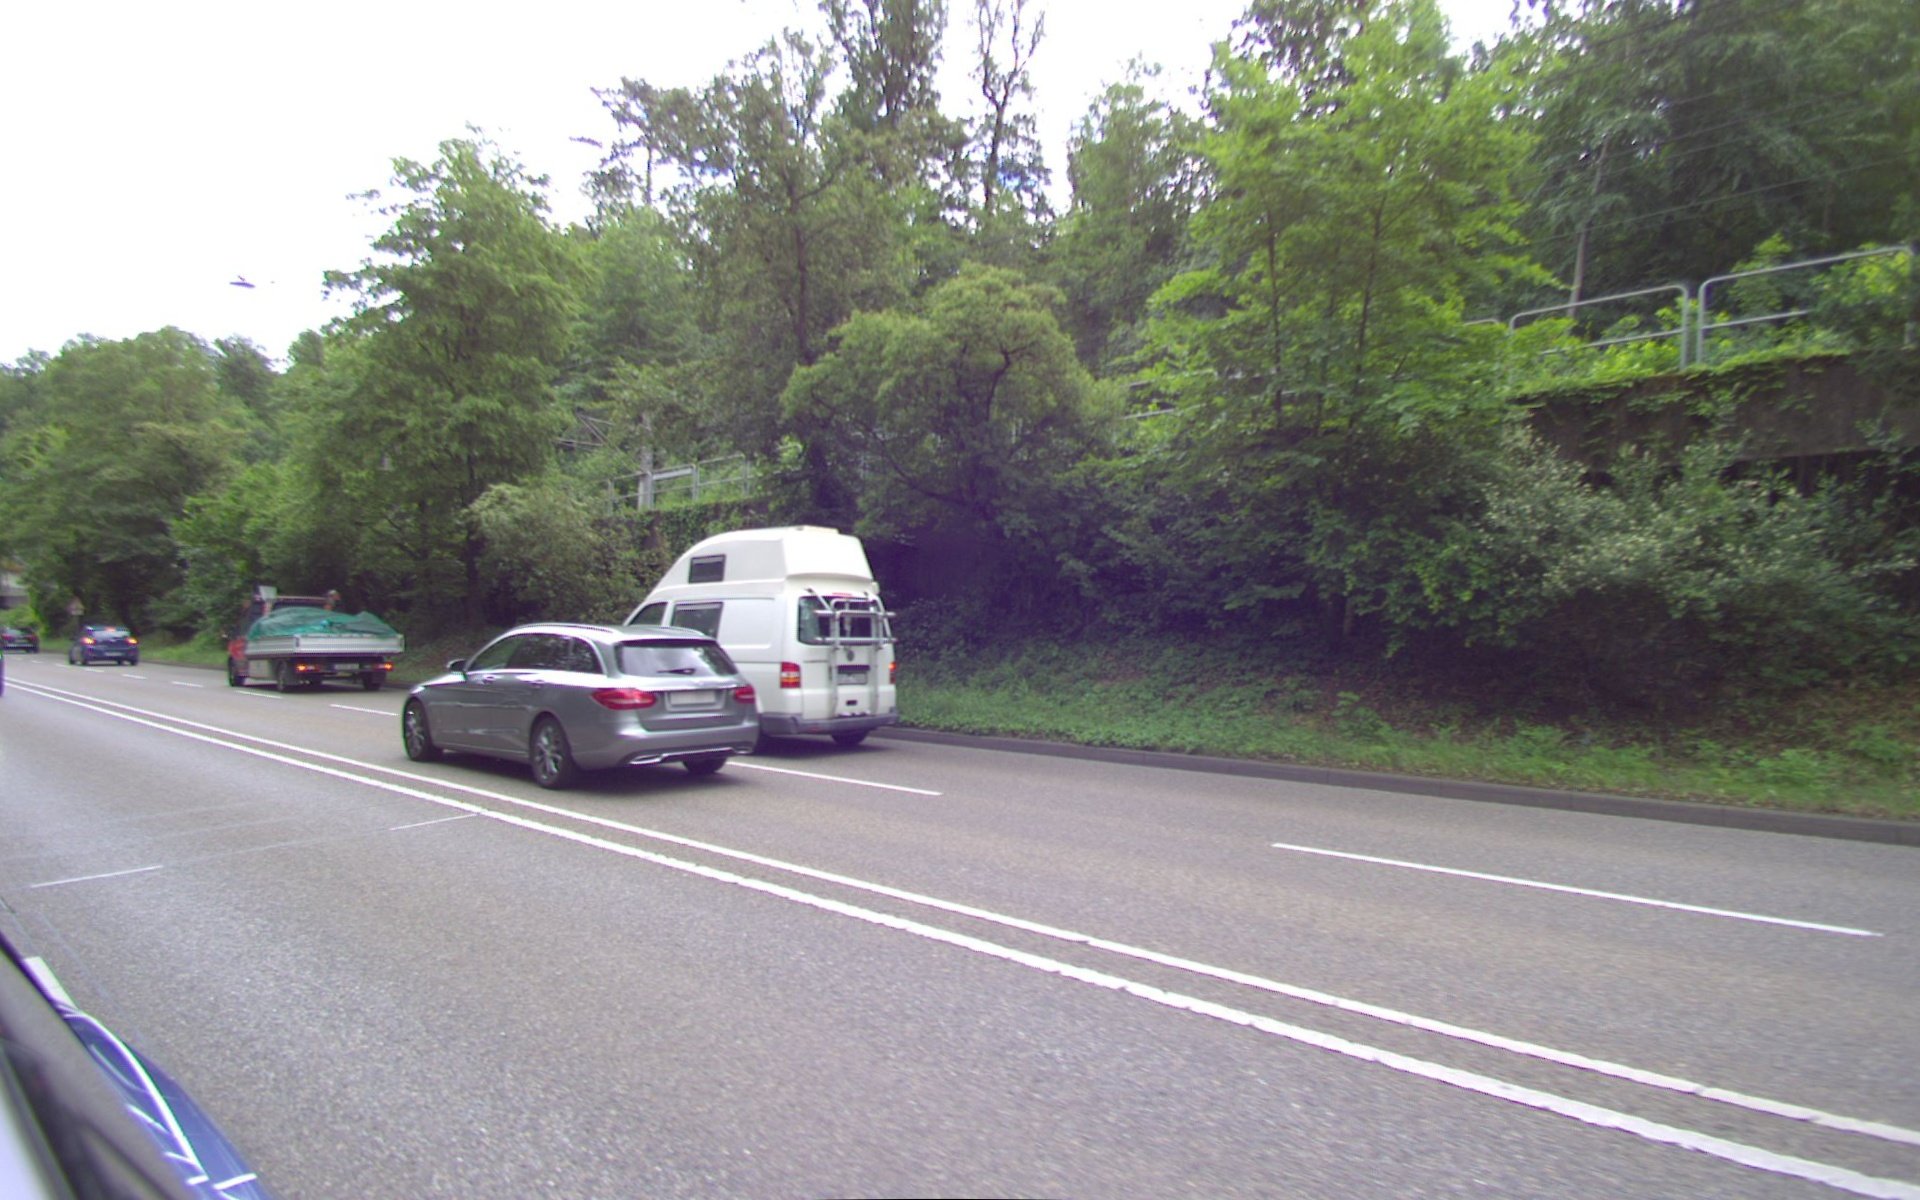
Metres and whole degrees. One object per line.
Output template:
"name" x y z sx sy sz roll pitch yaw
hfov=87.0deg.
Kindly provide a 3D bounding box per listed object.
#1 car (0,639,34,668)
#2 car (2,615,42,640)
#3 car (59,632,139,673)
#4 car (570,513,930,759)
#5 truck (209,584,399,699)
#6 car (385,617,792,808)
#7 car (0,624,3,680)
"car" -53.417 2.991 56.694 4.431 1.522 1.714 -1 -3 41
"car" -69.973 2.043 75.491 4.132 1.786 1.641 -1 -4 41
"car" -33.061 1.987 38.828 3.996 1.497 1.653 -1 -3 40
"car" -2.831 0.458 12.892 4.912 2.575 1.867 -1 -4 41
"truck" -15.883 0.994 24.314 6.464 2.430 2.153 -1 -4 42
"car" -3.820 0.951 10.012 4.463 1.477 1.820 -1 -3 41
"car" -21.170 1.316 20.686 4.189 1.675 1.847 -1 -3 40
